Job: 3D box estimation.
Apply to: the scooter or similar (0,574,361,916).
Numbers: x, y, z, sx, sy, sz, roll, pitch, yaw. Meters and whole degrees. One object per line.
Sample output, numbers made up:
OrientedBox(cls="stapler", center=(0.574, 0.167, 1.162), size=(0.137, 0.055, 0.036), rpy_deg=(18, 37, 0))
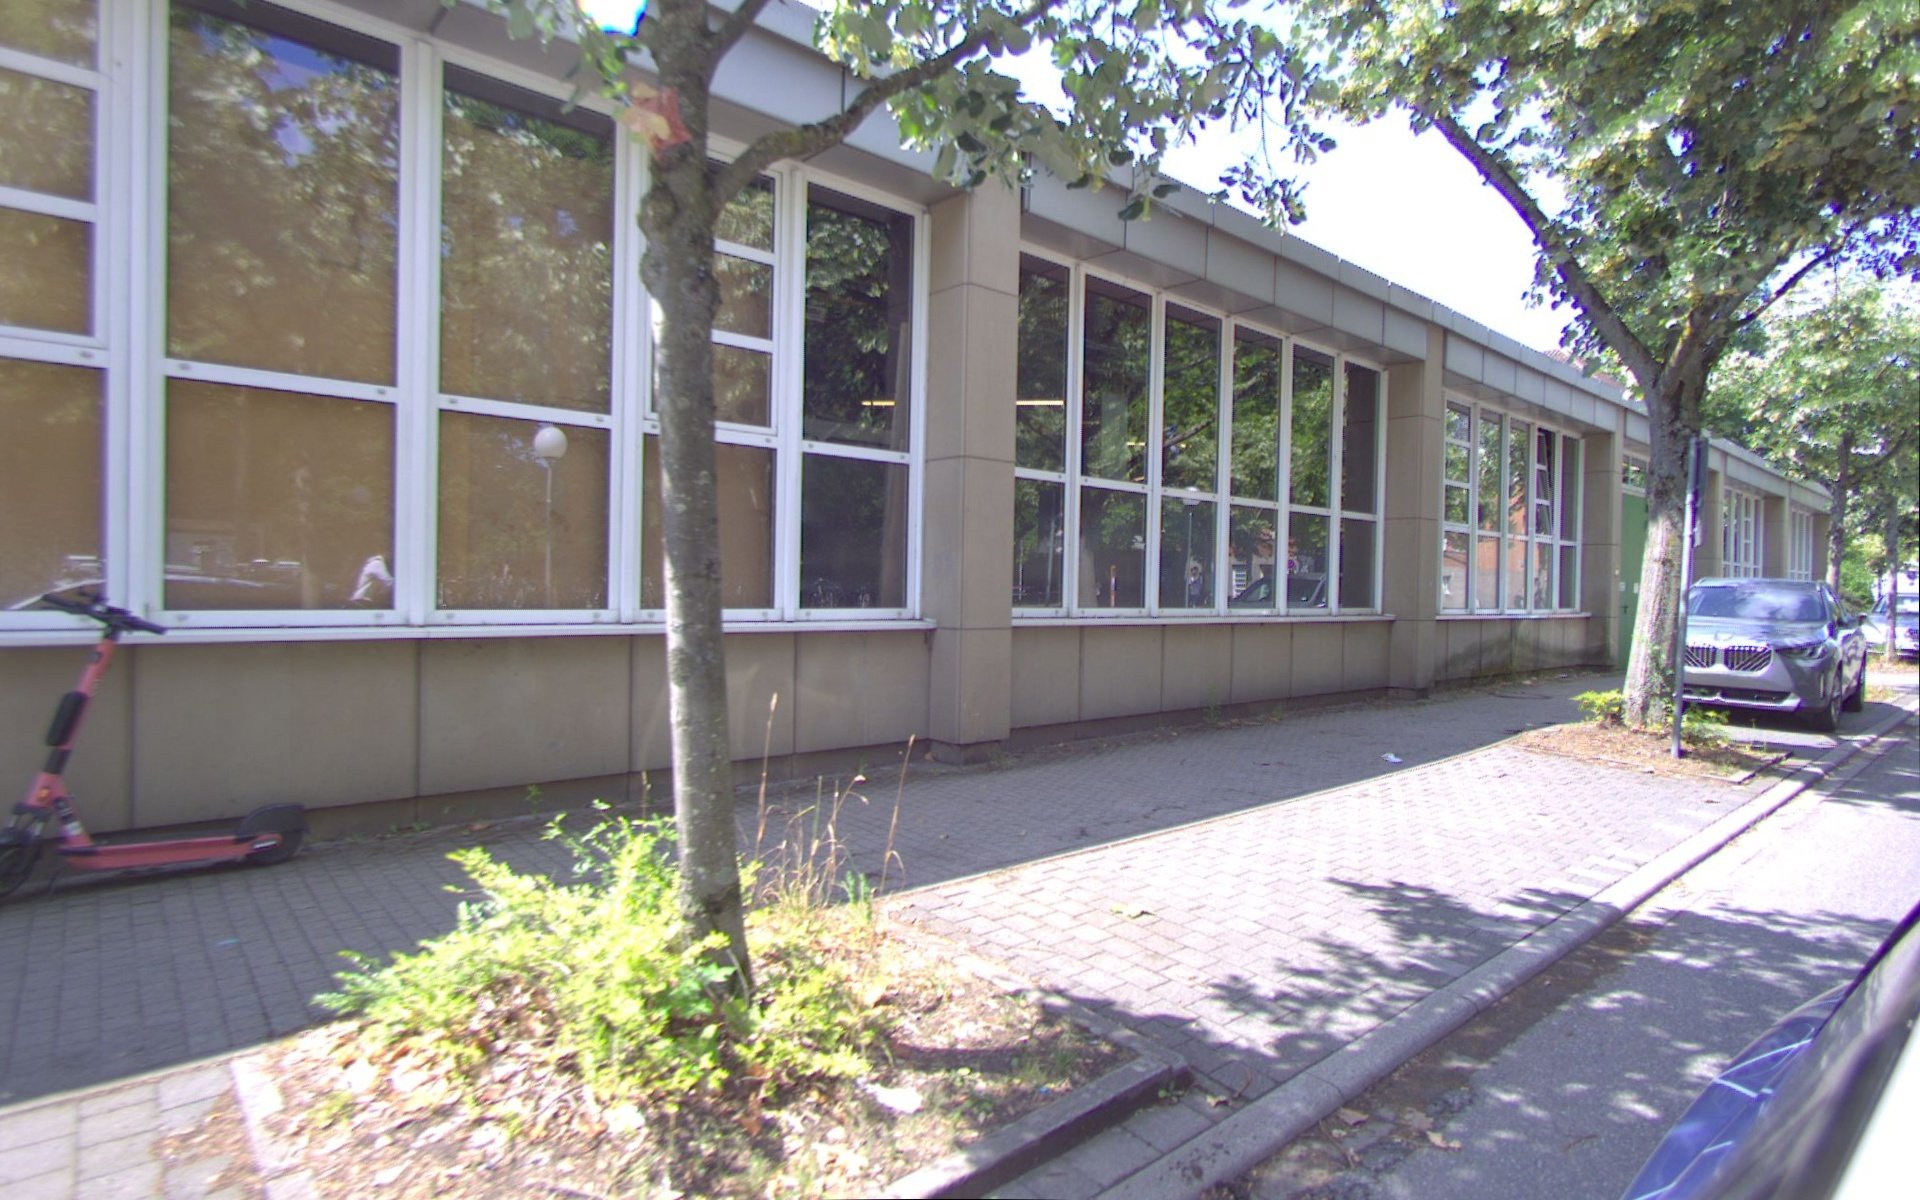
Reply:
OrientedBox(cls="scooter or similar", center=(-3.414, 0.540, 4.262), size=(1.460, 1.265, 0.512), rpy_deg=(0, 2, -41))

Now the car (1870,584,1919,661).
OrientedBox(cls="car", center=(21.664, 0.490, 22.522), size=(4.070, 1.593, 1.706), rpy_deg=(0, 3, -43))

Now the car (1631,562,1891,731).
OrientedBox(cls="car", center=(9.997, 0.446, 12.497), size=(4.507, 1.684, 1.825), rpy_deg=(0, 2, -43))
